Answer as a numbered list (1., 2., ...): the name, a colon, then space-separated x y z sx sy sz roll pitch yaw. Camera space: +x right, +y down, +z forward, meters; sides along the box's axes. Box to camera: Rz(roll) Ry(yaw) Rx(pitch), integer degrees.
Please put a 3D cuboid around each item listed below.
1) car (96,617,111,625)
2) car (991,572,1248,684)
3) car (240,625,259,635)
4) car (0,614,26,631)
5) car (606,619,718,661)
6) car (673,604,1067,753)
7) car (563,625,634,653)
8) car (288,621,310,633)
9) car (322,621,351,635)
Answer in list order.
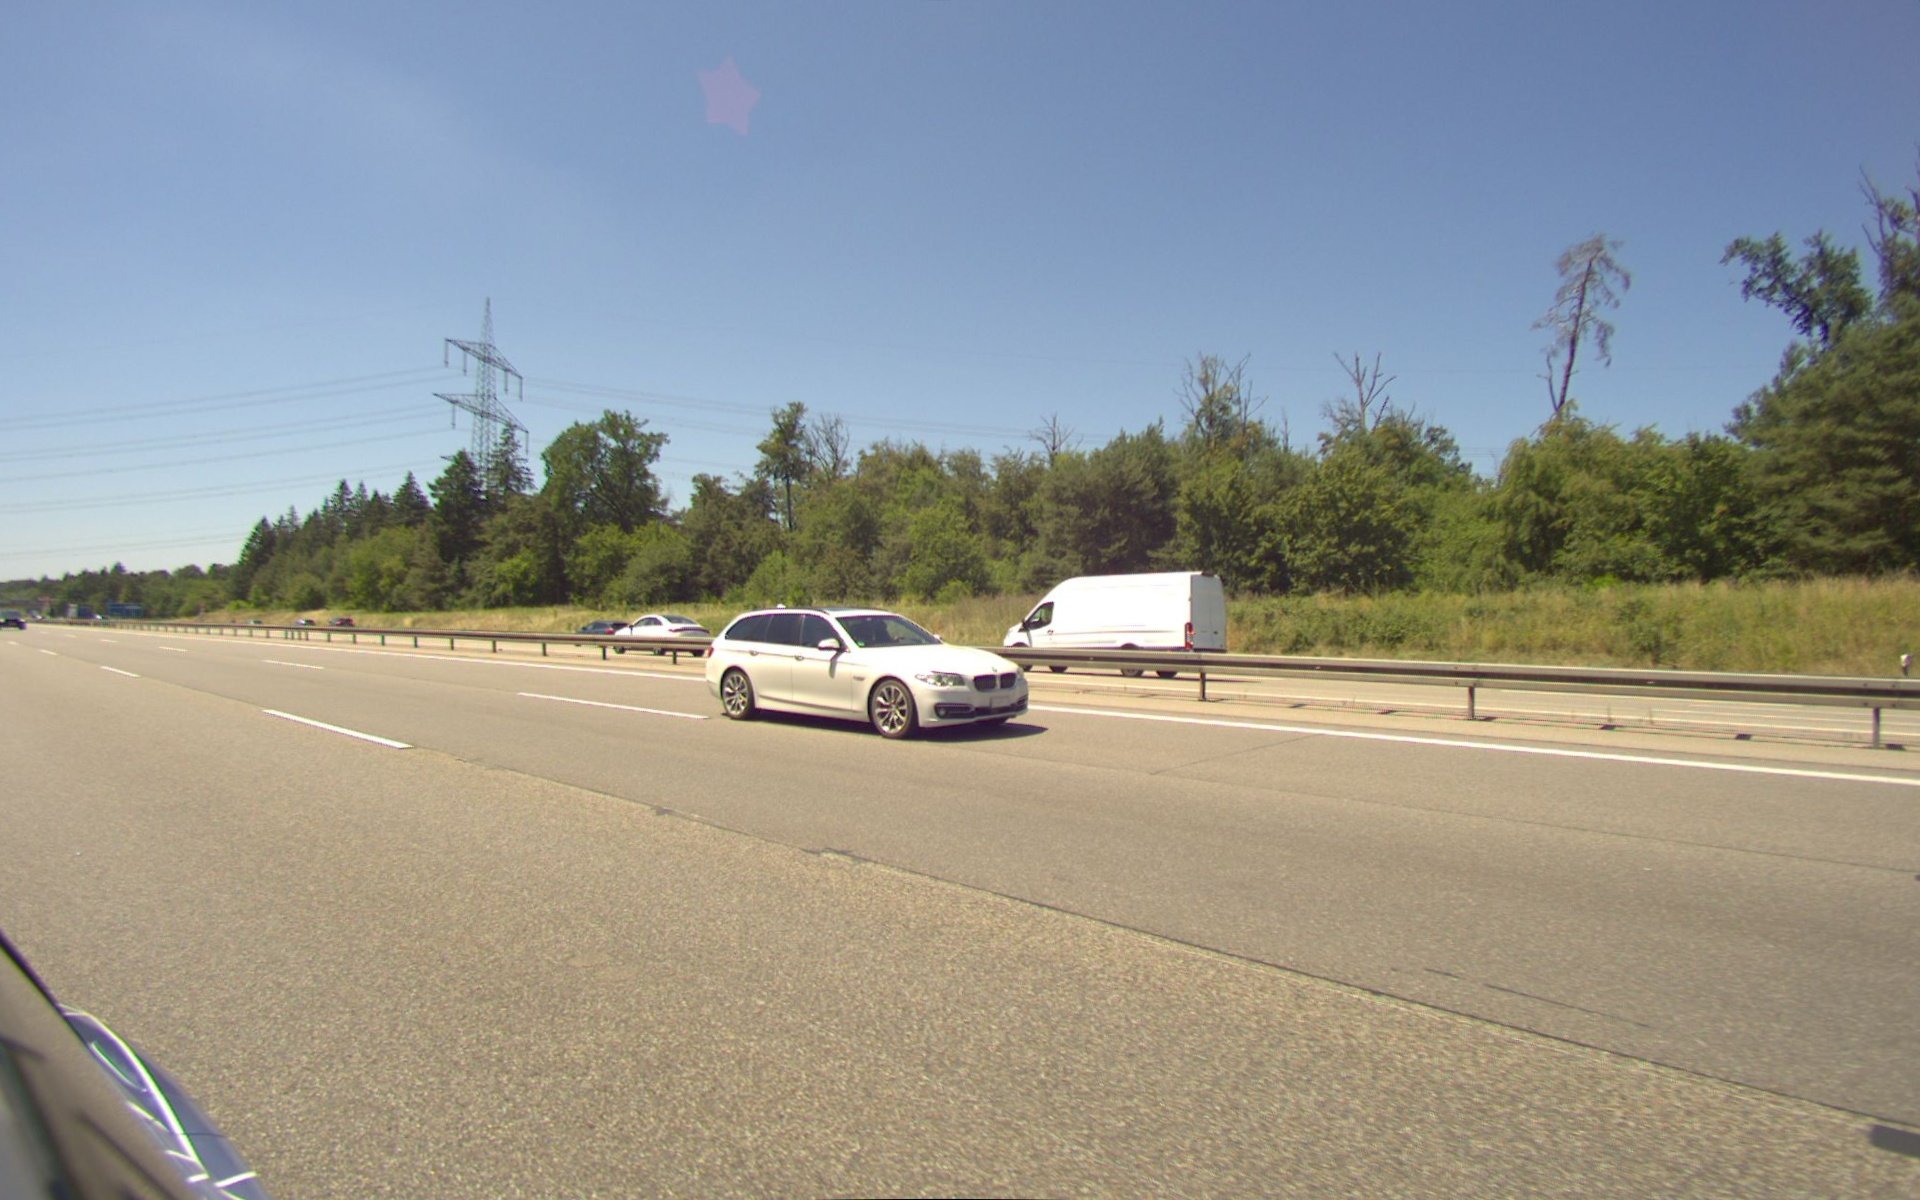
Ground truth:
1. car: -145.140 3.499 171.432 3.567 1.366 1.545 -1 -1 44
2. car: 4.198 0.779 27.864 6.874 2.732 2.317 -1 -3 43
3. car: -105.659 4.477 150.484 3.567 1.488 1.603 -1 -1 44
4. car: -85.121 1.984 90.793 1.872 1.436 4.264 -1 0 -44
5. car: -10.689 1.413 36.079 4.676 1.402 1.672 -1 -3 43
6. car: -1.374 0.817 12.918 5.405 1.515 1.942 0 0 43
7. car: -19.696 2.111 55.075 4.676 1.402 1.672 -1 -3 43
8. car: -85.417 3.468 130.799 4.001 1.539 1.541 0 0 44
9. car: -68.942 3.046 111.915 4.438 1.431 1.769 -1 0 44
